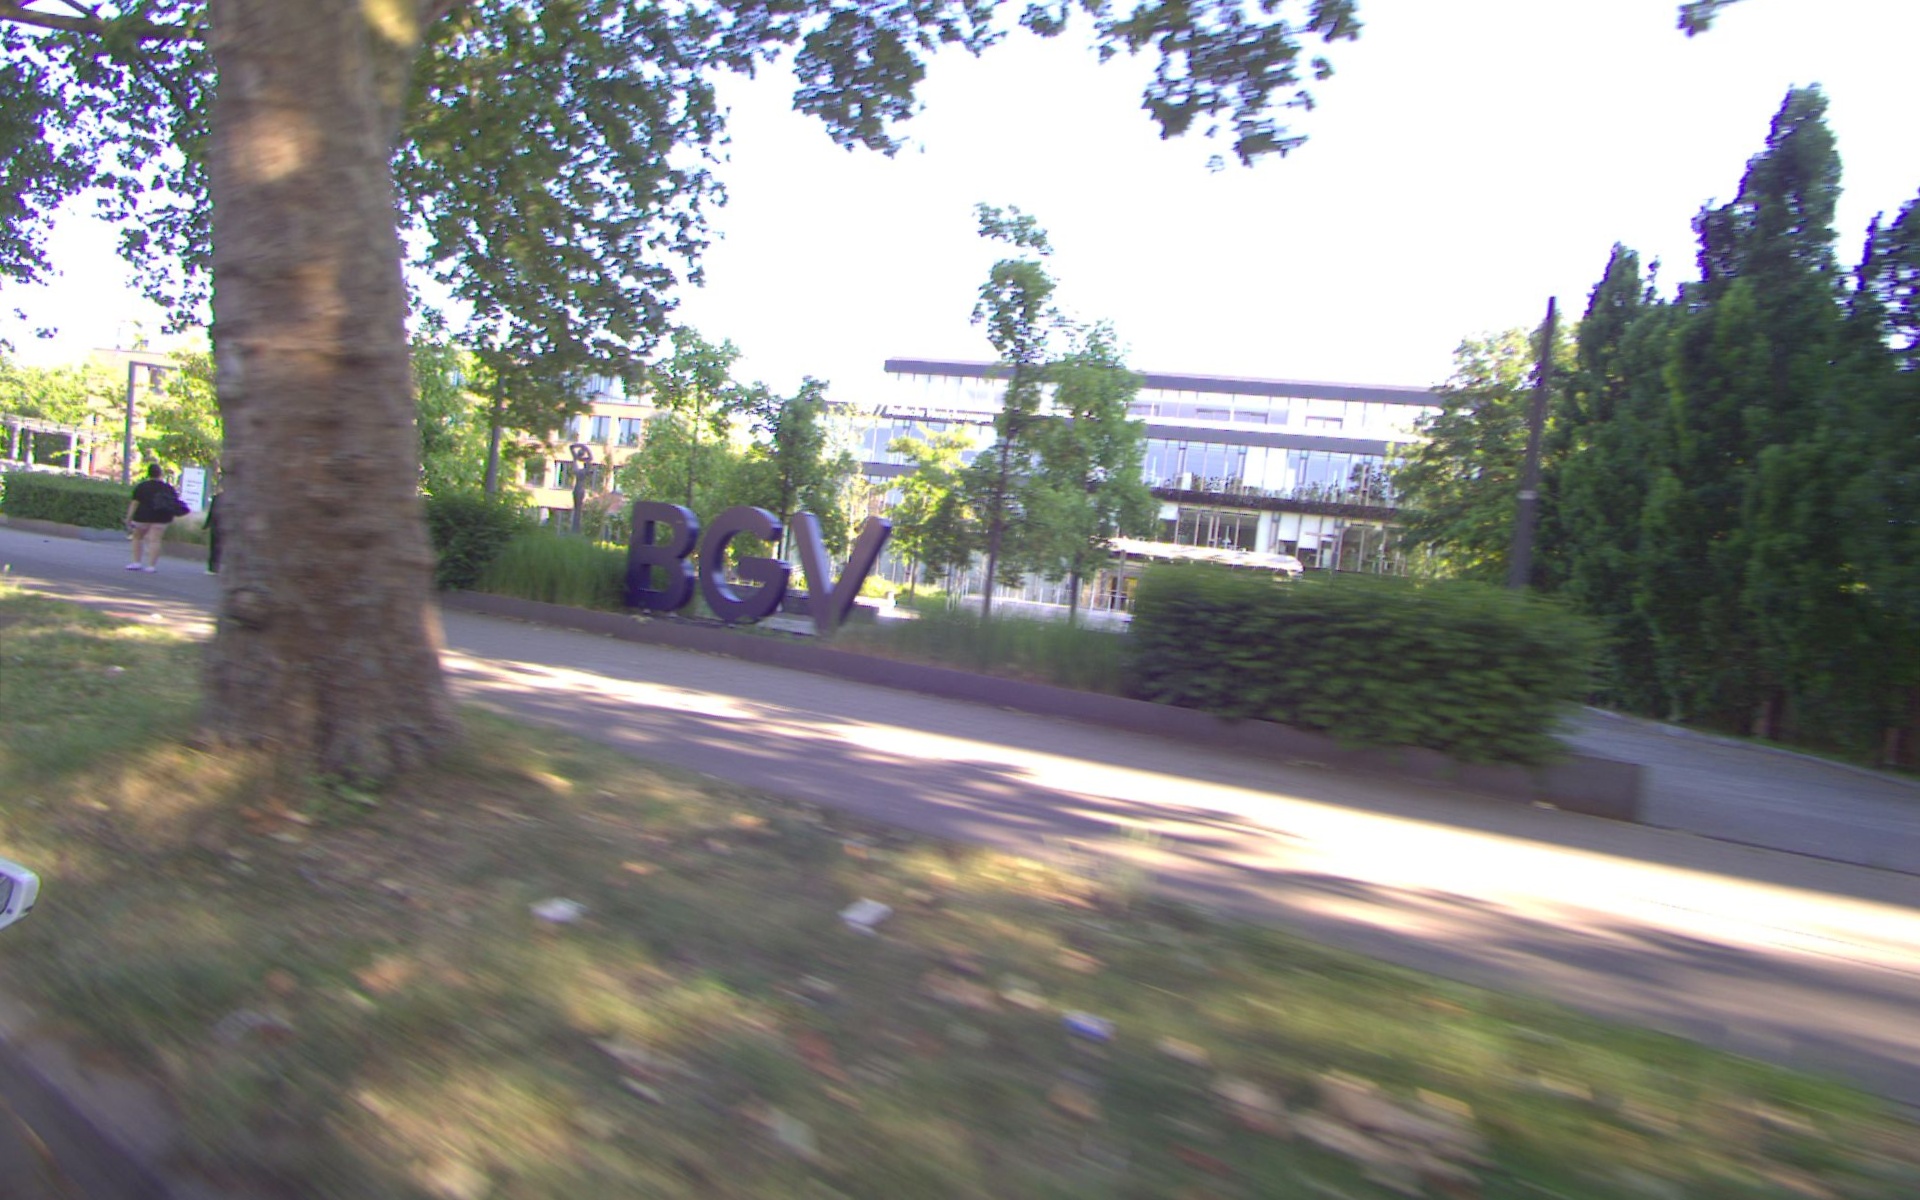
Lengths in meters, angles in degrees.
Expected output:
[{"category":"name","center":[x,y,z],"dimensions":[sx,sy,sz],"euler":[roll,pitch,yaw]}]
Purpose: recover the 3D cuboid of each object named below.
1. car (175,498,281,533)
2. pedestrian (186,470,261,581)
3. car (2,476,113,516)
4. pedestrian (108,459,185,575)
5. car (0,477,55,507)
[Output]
[{"category":"car","center":[-41.269,-4.748,56.880],"dimensions":[1.936,1.401,4.685],"euler":[7,2,12]},{"category":"pedestrian","center":[-11.848,-1.198,16.185],"dimensions":[0.770,1.678,0.650],"euler":[7,2,31]},{"category":"car","center":[-53.793,-6.167,60.075],"dimensions":[1.813,1.736,4.685],"euler":[7,2,11]},{"category":"pedestrian","center":[-12.505,-1.275,15.465],"dimensions":[0.727,1.678,0.628],"euler":[7,2,31]},{"category":"car","center":[-61.148,-7.045,64.549],"dimensions":[1.962,1.526,4.172],"euler":[7,2,11]}]
